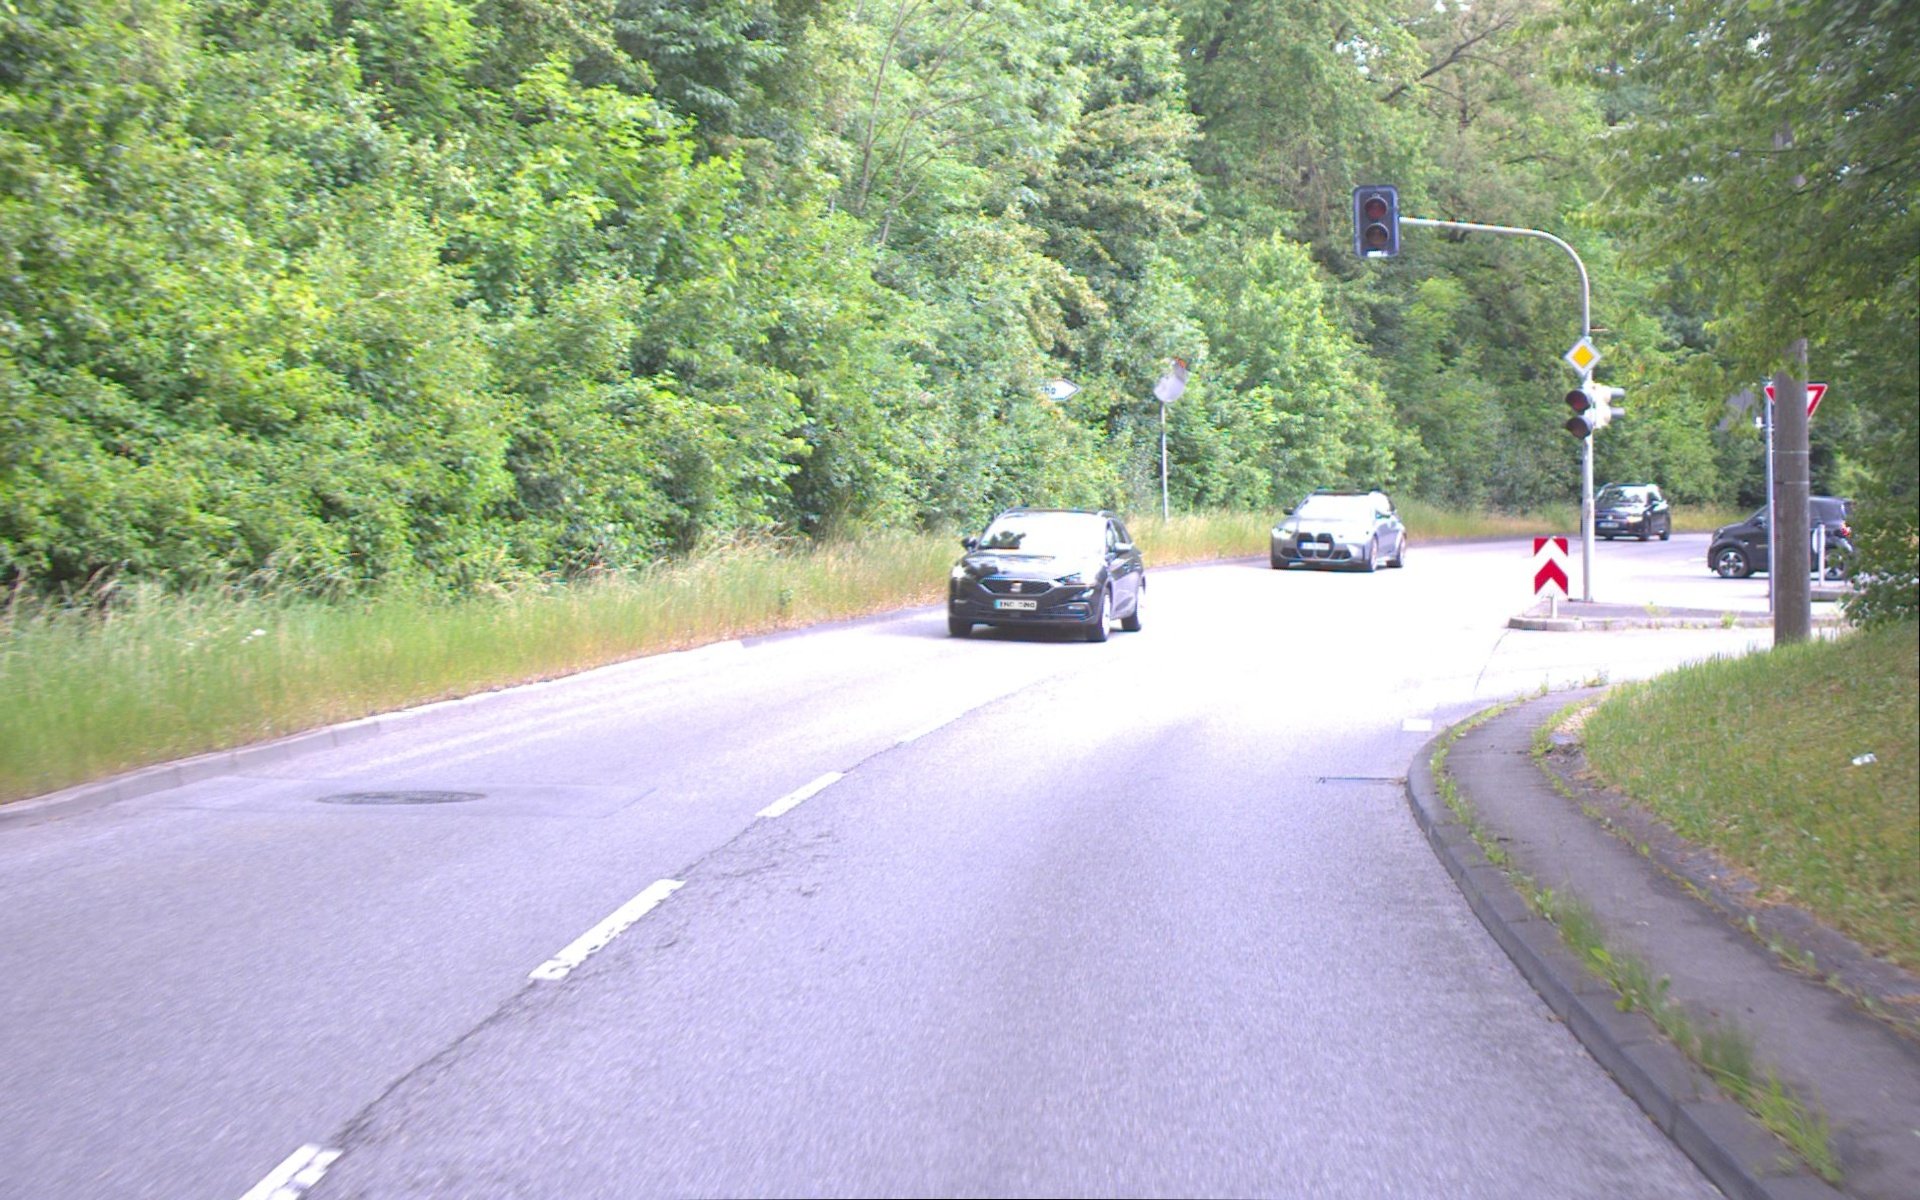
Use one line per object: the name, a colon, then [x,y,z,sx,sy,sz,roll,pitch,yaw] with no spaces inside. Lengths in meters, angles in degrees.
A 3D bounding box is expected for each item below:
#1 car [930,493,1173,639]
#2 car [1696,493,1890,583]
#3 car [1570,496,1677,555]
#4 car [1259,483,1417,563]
car: [1.121,-0.438,39.434,1.804,1.429,4.658,3,3,13]
car: [15.391,-1.167,63.481,3.307,1.489,1.666,3,3,18]
car: [18.053,-2.026,93.414,1.791,1.509,4.836,3,2,24]
car: [7.097,-1.427,64.129,1.900,1.349,4.838,4,2,18]
